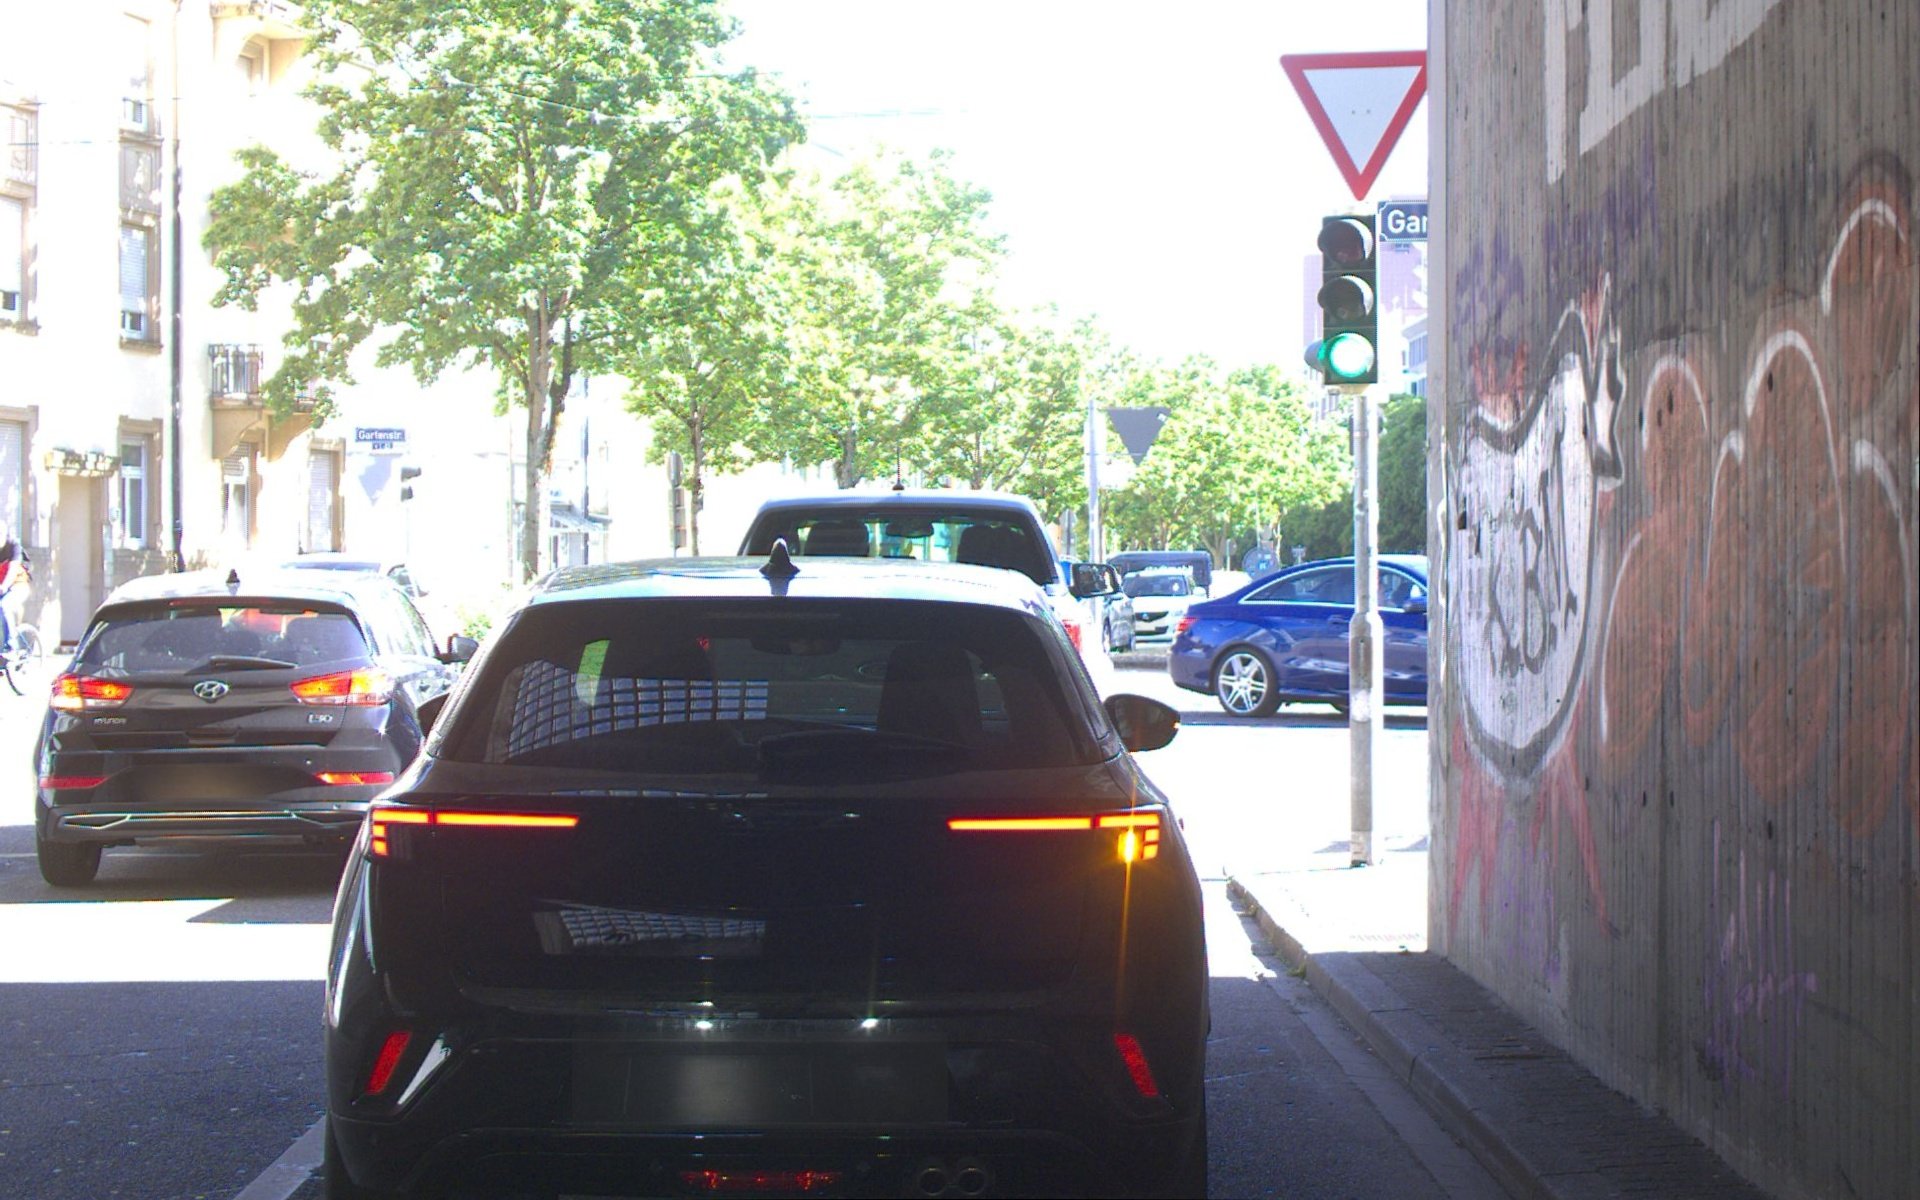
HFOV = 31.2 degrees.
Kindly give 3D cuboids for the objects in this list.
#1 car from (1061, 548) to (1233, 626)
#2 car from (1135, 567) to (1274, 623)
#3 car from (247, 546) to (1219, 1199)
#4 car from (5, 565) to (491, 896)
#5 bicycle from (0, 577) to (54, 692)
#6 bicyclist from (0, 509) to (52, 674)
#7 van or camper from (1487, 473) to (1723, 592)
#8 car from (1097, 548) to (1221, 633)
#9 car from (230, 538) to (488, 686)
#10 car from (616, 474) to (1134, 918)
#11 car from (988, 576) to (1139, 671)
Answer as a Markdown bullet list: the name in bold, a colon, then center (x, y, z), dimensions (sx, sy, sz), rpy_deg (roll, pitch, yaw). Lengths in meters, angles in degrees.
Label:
- **car**: center (6.141, -0.430, 113.037), dimensions (5.259, 2.537, 1.986), rpy_deg (0, 0, -14)
- **car**: center (9.277, -0.182, 130.545), dimensions (4.882, 2.076, 1.986), rpy_deg (0, 0, -23)
- **car**: center (-0.407, 0.646, 8.225), dimensions (1.782, 1.512, 3.755), rpy_deg (1, 1, 0)
- **car**: center (-3.467, 0.557, 17.498), dimensions (1.800, 1.446, 4.327), rpy_deg (0, 1, -3)
- **bicycle**: center (-9.743, 0.339, 34.772), dimensions (0.541, 1.119, 2.058), rpy_deg (0, 1, 2)
- **bicyclist**: center (-9.750, -0.090, 34.853), dimensions (0.782, 1.654, 1.031), rpy_deg (0, 1, 2)
- **van or camper**: center (17.451, -1.793, 93.143), dimensions (6.081, 2.919, 2.574), rpy_deg (-2, 0, 10)
- **car**: center (3.792, -0.200, 64.971), dimensions (1.706, 1.507, 3.861), rpy_deg (-2, 0, 12)
- **car**: center (-6.095, 0.092, 35.238), dimensions (1.658, 1.436, 3.462), rpy_deg (0, 1, 7)
- **car**: center (-0.330, 0.368, 16.638), dimensions (2.133, 1.829, 4.940), rpy_deg (0, 1, 0)
- **car**: center (1.685, 0.349, 54.866), dimensions (1.709, 1.447, 3.848), rpy_deg (0, 1, 13)
